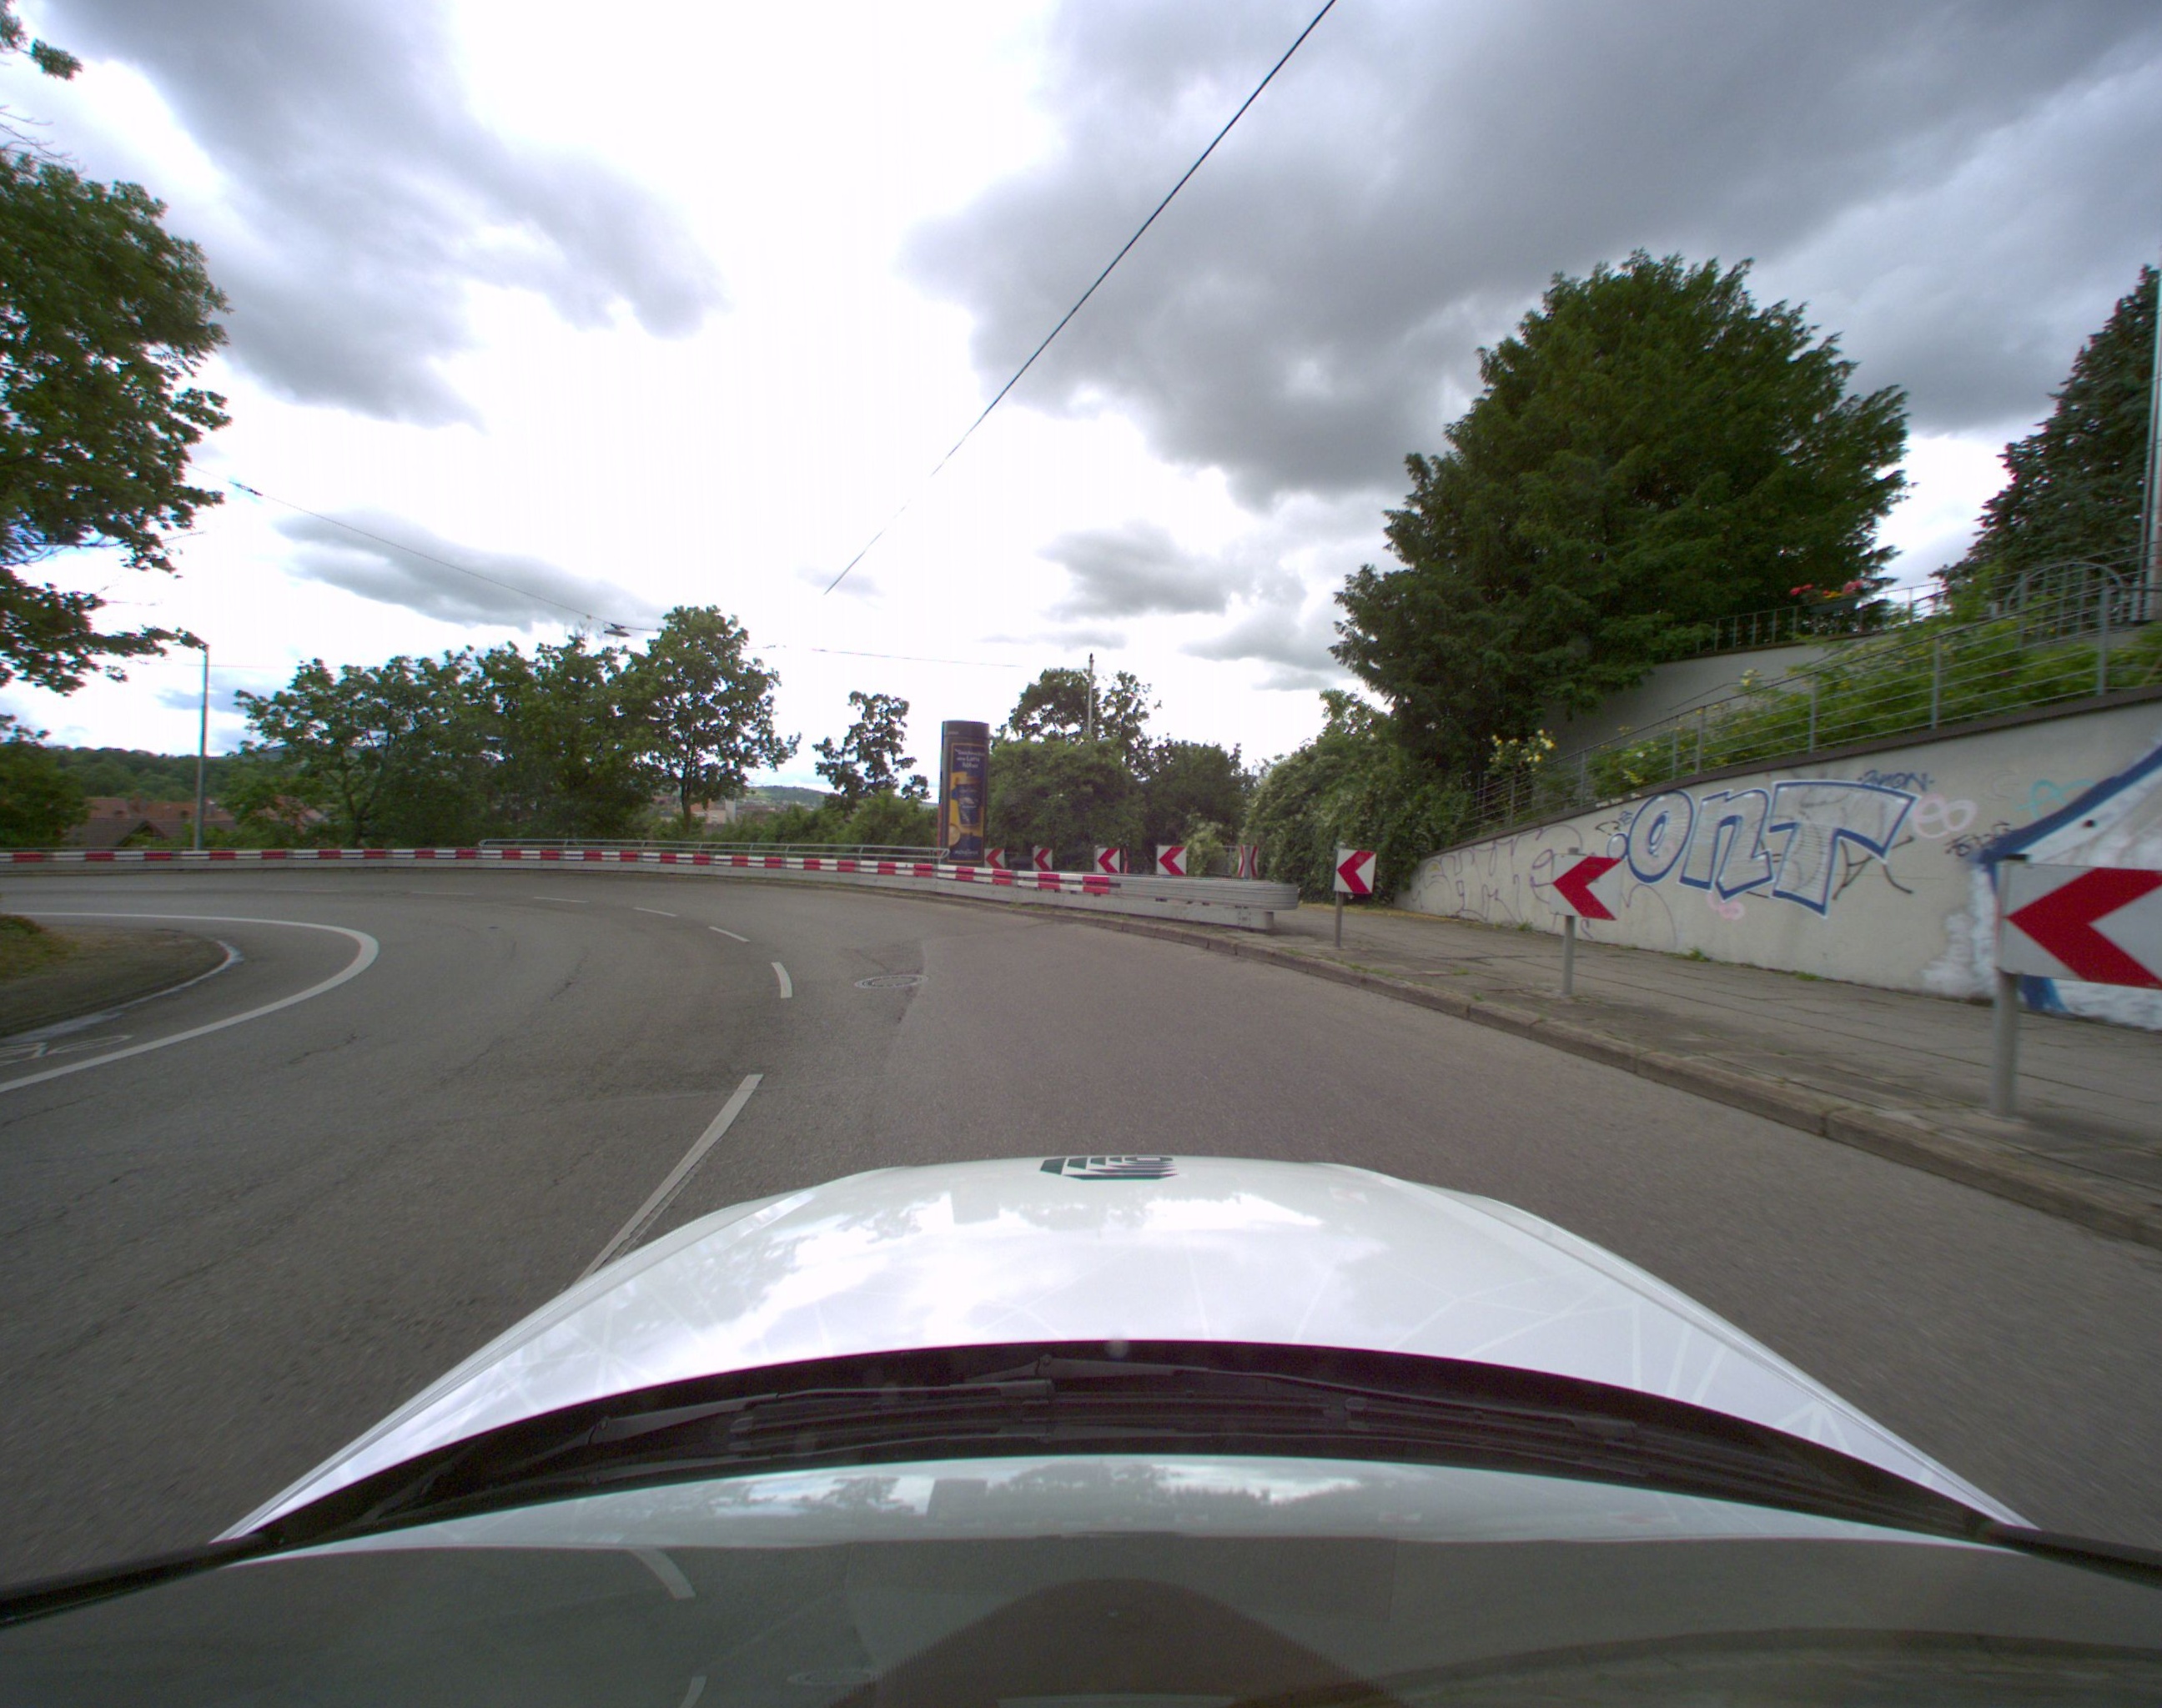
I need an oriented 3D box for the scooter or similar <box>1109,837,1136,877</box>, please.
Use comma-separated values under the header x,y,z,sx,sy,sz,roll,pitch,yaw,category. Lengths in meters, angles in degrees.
x,y,z,sx,sy,sz,roll,pitch,yaw,category
1.374,0.077,26.624,0.431,1.250,1.509,1,1,20,scooter or similar
